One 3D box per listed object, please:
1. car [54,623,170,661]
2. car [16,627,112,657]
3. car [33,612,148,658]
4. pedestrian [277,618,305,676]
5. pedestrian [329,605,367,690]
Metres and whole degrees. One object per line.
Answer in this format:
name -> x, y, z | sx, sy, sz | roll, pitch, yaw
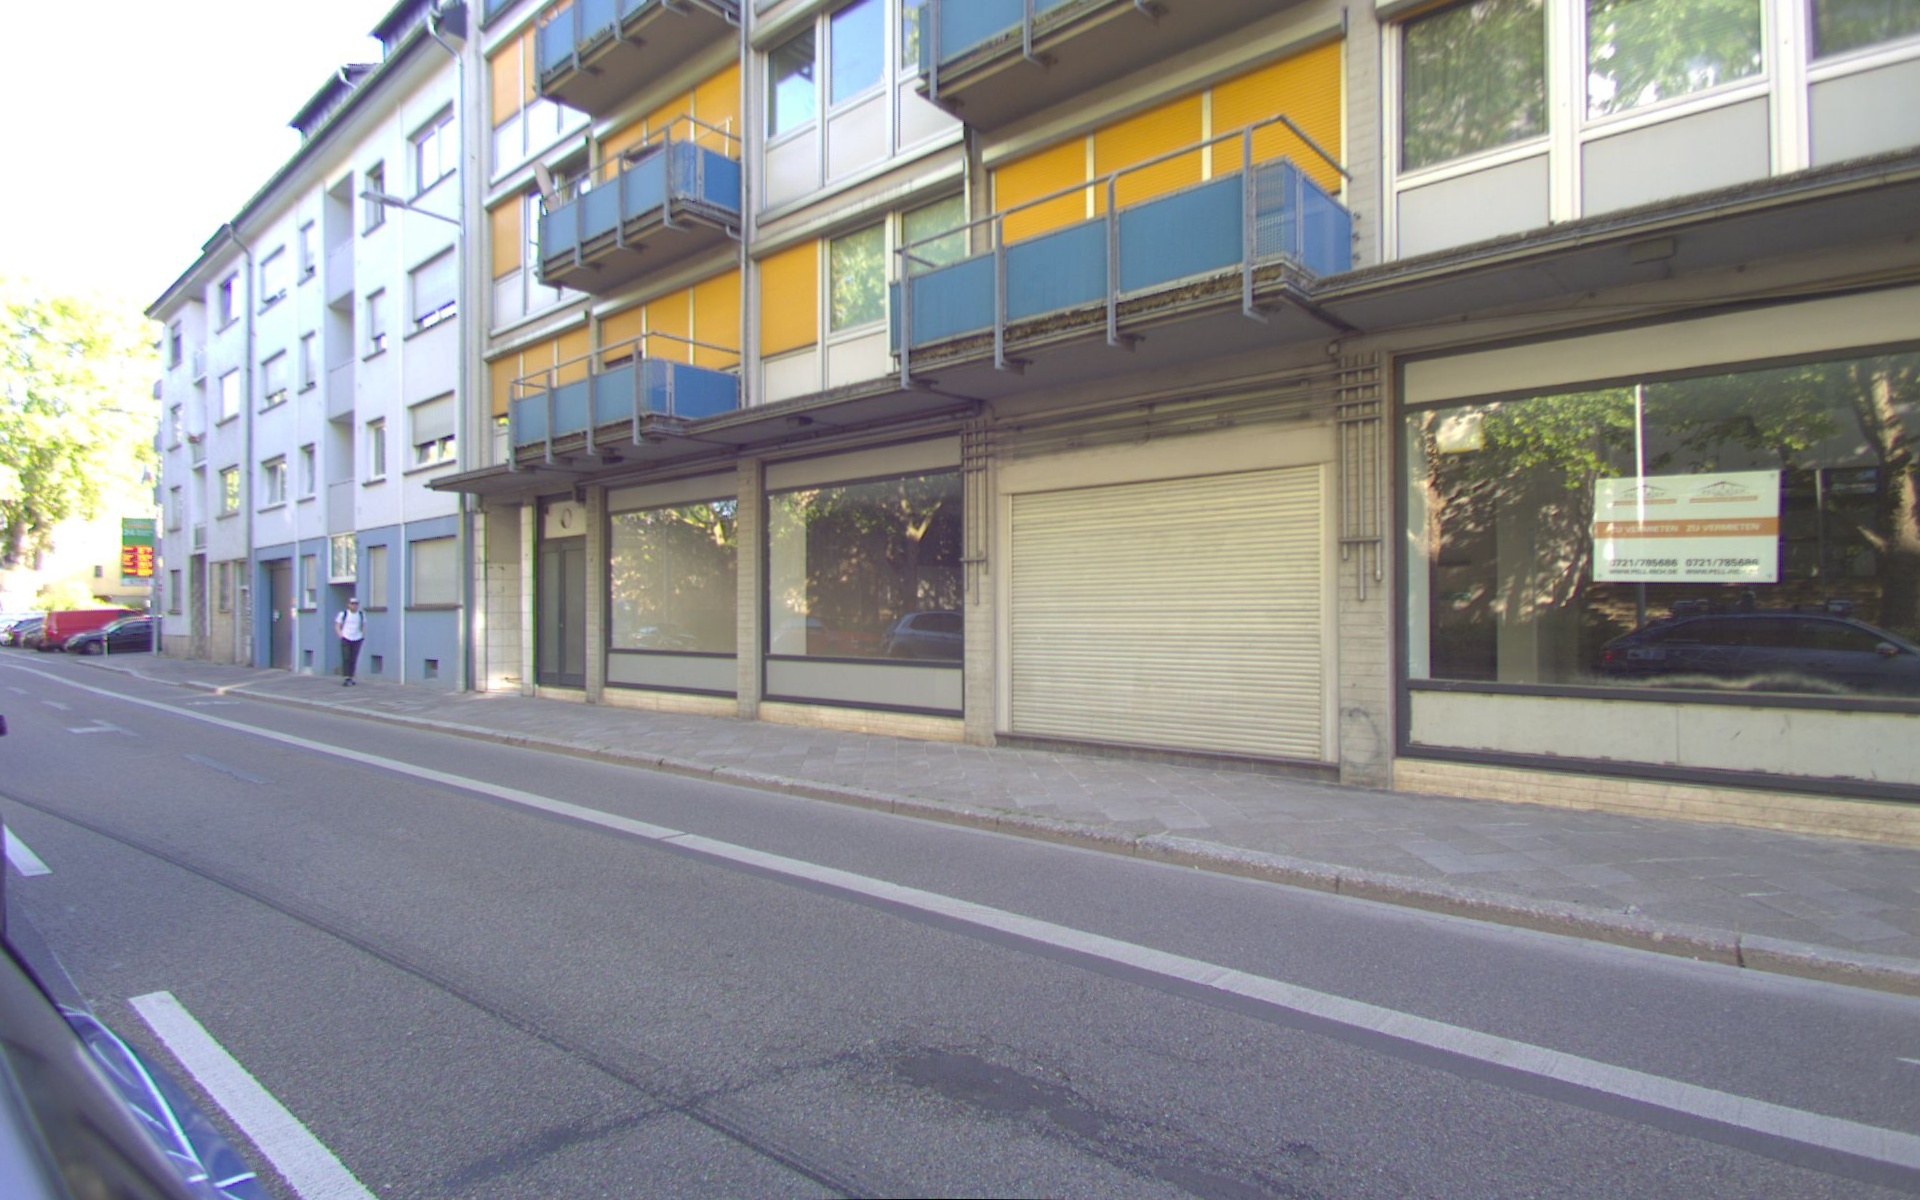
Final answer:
car -> -36.666, 1.777, 43.824 | 1.635, 1.422, 3.623 | -1, 0, 41
car -> -42.975, 2.009, 48.580 | 1.294, 1.258, 3.283 | -1, 0, 41
car -> -40.625, 1.592, 47.351 | 1.635, 1.937, 3.878 | -2, 0, 41
pedestrian -> -17.969, 1.265, 27.181 | 0.567, 1.529, 0.340 | -2, 0, 27
pedestrian -> -12.859, 0.979, 21.259 | 0.343, 1.739, 0.562 | -2, 0, 41
